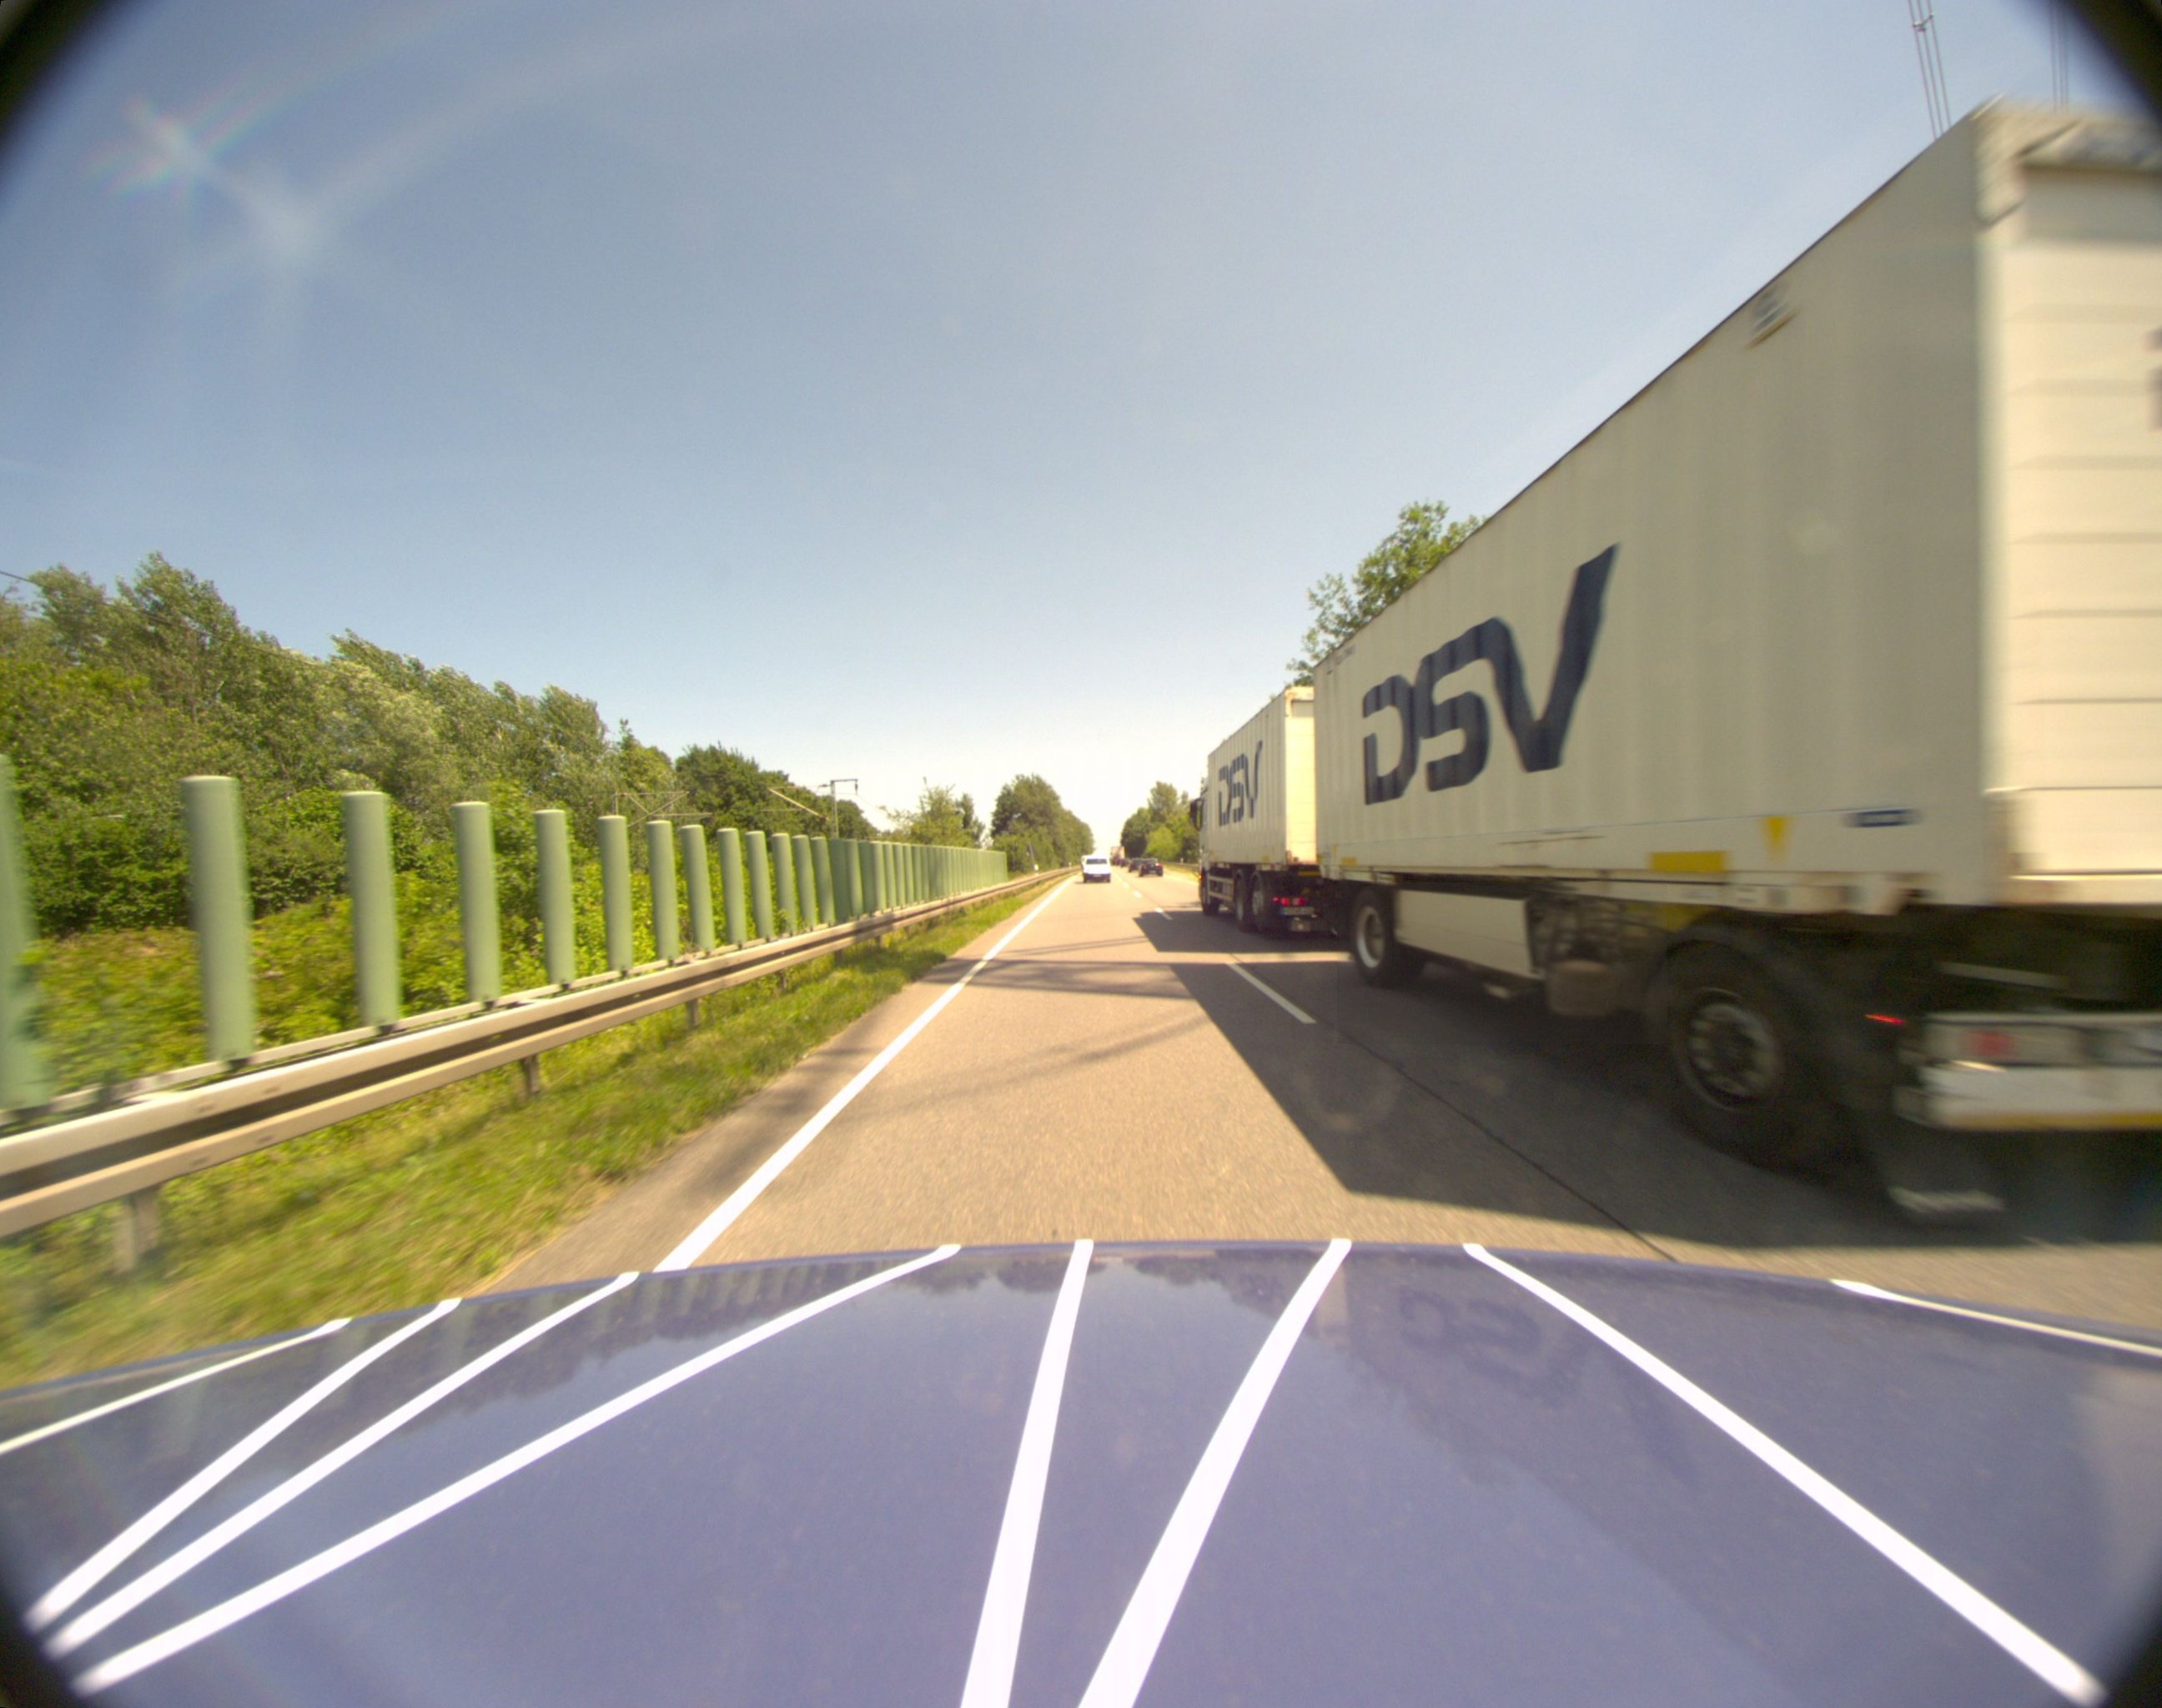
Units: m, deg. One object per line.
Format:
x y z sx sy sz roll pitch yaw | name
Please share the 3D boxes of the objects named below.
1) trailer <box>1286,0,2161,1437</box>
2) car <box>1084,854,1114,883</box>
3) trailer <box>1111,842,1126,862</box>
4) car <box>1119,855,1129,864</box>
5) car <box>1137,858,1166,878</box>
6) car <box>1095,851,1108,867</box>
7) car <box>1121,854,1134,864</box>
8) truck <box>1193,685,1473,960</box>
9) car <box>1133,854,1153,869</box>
4.348 -0.411 6.579 2.726 4.018 9.075 -1 0 1 | trailer
1.165 0.908 48.348 1.782 1.743 4.513 -1 -1 2 | car
8.070 -0.353 165.182 2.769 3.976 13.687 -5 0 2 | trailer
7.952 1.025 139.812 1.638 1.428 4.180 -2 0 2 | car
5.465 1.072 59.240 1.998 1.446 4.000 -2 0 2 | car
3.126 0.748 114.337 1.782 2.286 4.107 -3 -1 2 | car
7.101 0.822 116.188 1.638 1.428 4.414 -2 0 0 | car
4.438 -0.443 16.067 2.749 4.018 9.664 -1 0 1 | truck
6.580 0.779 81.136 1.849 1.488 4.000 -5 0 2 | car
